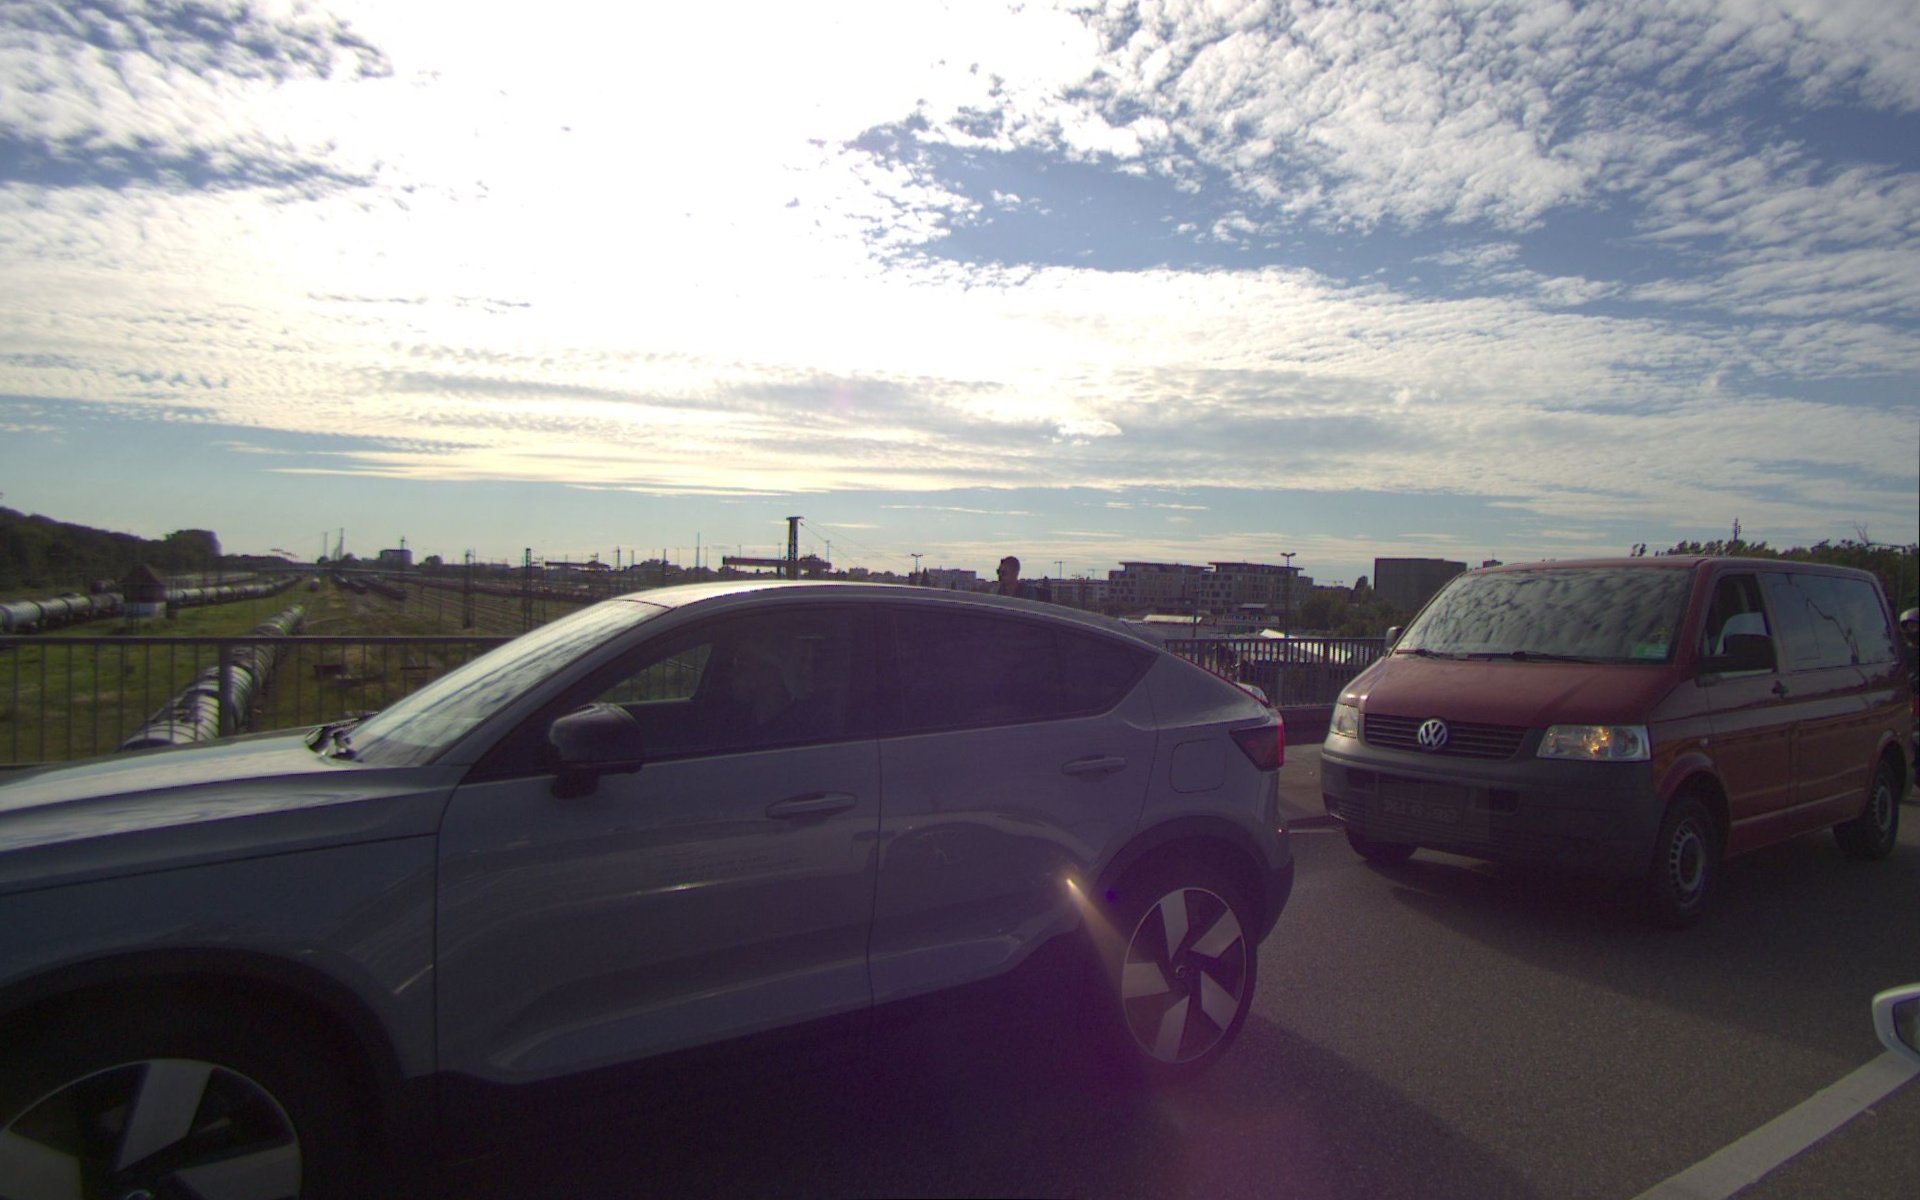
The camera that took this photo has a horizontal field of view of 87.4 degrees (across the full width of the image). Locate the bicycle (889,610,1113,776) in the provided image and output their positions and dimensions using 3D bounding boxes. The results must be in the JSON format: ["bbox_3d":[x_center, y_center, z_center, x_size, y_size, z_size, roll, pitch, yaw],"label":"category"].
[{"bbox_3d":[0.387,0.784,8.962,1.895,1.349,0.760,2,-1,-32],"label":"bicycle"}]

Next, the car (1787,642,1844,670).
[{"bbox_3d":[61.045,3.938,71.795,1.871,1.834,5.398,0,-1,27],"label":"car"}]

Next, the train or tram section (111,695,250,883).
[{"bbox_3d":[-30.491,6.796,39.991,3.065,4.774,16.592,2,-1,-34],"label":"train or tram section"}]

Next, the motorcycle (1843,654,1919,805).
[{"bbox_3d":[8.835,1.148,9.305,1.775,1.269,0.616,2,-1,-36],"label":"motorcycle"}]

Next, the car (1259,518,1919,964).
[{"bbox_3d":[4.333,0.681,6.539,4.817,1.928,1.995,2,-2,-34],"label":"car"}]

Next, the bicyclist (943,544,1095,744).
[{"bbox_3d":[0.529,0.390,9.054,1.107,1.682,0.762,2,-1,-32],"label":"bicyclist"}]

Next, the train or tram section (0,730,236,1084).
[{"bbox_3d":[-21.222,6.659,26.207,3.065,4.774,16.592,2,-1,-34],"label":"train or tram section"}]

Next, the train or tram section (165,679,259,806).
[{"bbox_3d":[-39.693,7.145,53.803,3.065,4.774,16.592,2,-1,-34],"label":"train or tram section"}]

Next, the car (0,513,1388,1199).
[{"bbox_3d":[-0.717,0.718,3.283,4.264,1.631,1.744,2,-2,-31],"label":"car"}]

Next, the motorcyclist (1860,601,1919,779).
[{"bbox_3d":[8.825,0.812,9.253,0.928,1.574,0.616,1,-1,-36],"label":"motorcyclist"}]
